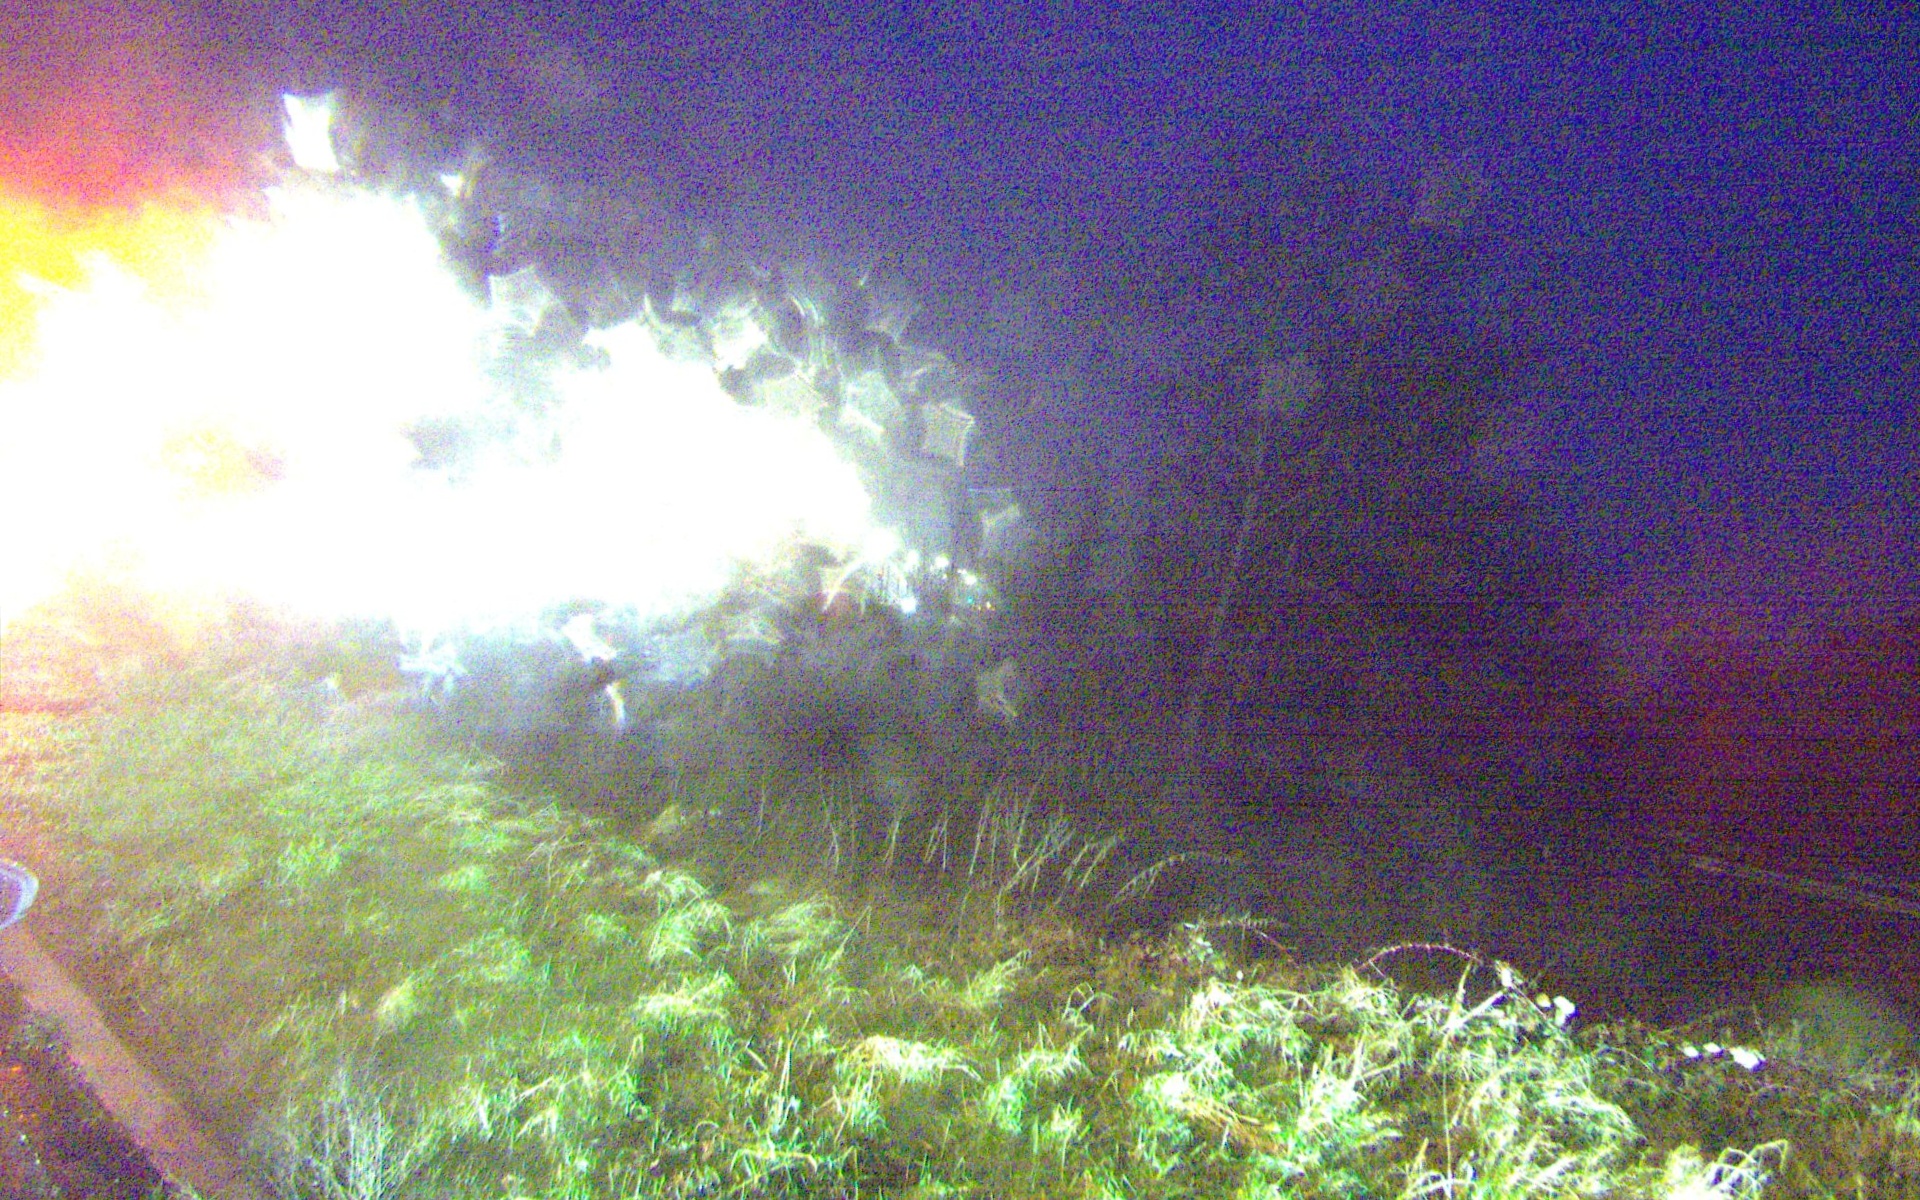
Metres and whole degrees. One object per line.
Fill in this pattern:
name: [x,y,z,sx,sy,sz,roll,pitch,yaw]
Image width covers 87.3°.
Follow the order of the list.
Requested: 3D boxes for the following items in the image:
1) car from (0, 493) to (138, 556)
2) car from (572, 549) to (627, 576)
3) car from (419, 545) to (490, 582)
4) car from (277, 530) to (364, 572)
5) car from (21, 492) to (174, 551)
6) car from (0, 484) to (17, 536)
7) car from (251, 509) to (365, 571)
car: [-35.730,-2.961,40.334,1.732,1.870,4.129,7,-2,5]
car: [-25.906,-2.673,72.466,1.748,1.502,4.414,6,0,8]
car: [-29.751,-2.117,59.352,1.770,1.685,3.980,7,-2,5]
car: [-34.948,-2.653,55.111,1.732,1.734,4.129,7,-2,5]
car: [-31.857,-2.863,37.332,1.685,1.504,4.062,7,-2,9]
car: [-35.699,-3.450,34.802,1.770,1.820,4.254,7,-2,5]
car: [-37.203,-3.365,57.644,2.213,2.741,5.615,7,-2,6]
